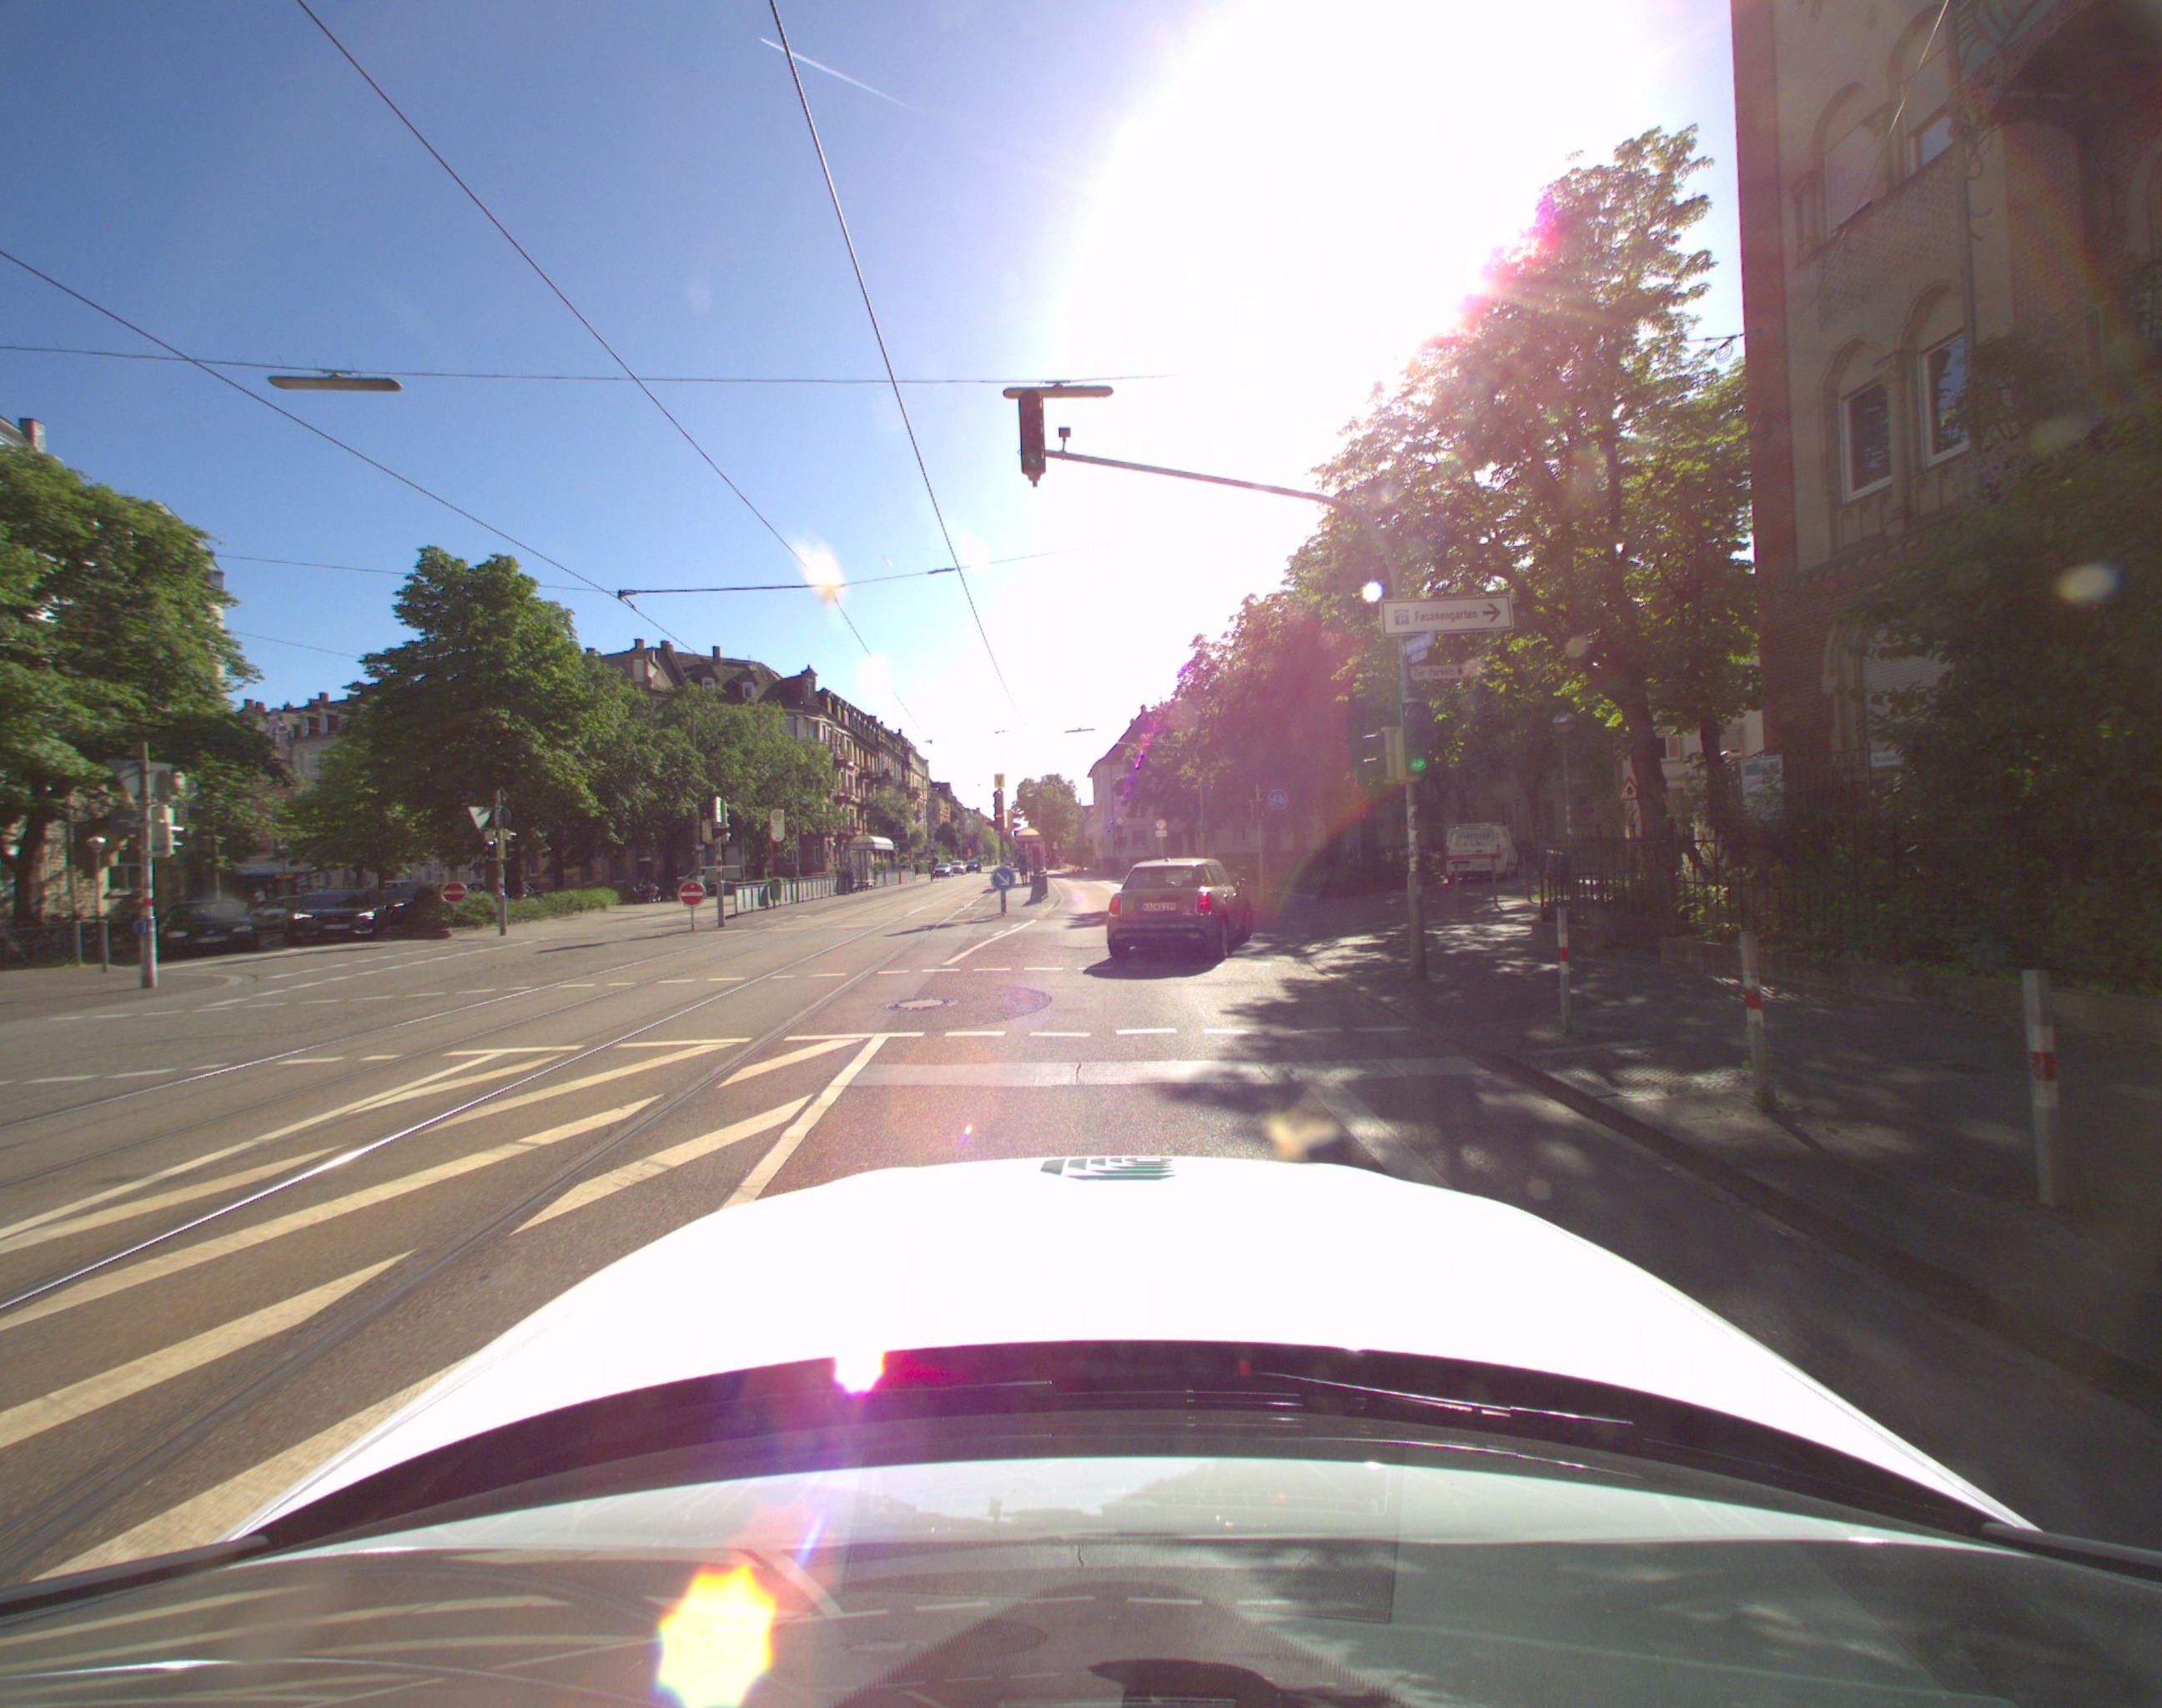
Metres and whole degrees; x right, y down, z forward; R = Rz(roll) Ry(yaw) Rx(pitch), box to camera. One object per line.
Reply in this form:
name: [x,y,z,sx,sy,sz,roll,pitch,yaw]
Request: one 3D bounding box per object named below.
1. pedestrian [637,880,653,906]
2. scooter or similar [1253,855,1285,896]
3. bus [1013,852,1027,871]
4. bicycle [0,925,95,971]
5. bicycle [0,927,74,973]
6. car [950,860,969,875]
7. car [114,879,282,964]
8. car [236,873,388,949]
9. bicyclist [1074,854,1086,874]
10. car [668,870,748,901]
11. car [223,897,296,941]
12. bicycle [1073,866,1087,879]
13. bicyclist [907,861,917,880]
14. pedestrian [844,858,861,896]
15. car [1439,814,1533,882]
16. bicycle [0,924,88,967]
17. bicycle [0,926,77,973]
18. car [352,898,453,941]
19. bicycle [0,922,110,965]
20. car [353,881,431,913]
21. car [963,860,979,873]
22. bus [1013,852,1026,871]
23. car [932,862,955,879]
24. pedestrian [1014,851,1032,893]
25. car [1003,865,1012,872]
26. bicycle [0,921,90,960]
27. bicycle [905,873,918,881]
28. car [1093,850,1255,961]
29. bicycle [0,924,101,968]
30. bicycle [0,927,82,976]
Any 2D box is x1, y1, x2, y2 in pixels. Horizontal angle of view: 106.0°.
pedestrian: [-20.942,1.866,39.115,0.581,1.201,0.602,-3,0,-30]
scooter or similar: [6.185,0.701,26.830,0.674,1.310,1.327,-2,-1,-2]
bus: [-11.412,1.450,152.368,2.382,3.496,7.369,-2,-1,-5]
bicycle: [-25.983,2.333,20.109,0.602,0.980,2.051,-3,-1,36]
bicycle: [-25.563,2.308,19.344,0.602,0.980,2.051,-3,-1,36]
car: [-13.566,1.524,90.951,1.773,1.618,3.993,-2,-1,-4]
car: [-23.359,1.735,21.540,3.949,2.014,2.012,-2,-1,27]
car: [-22.526,1.640,23.856,3.949,2.014,2.012,-2,-1,27]
bicyclist: [-0.097,0.955,74.623,0.818,1.811,1.055,-1,-1,-11]
car: [-26.912,2.216,58.832,5.048,2.014,1.979,-1,-1,-33]
car: [-32.069,2.481,31.768,3.949,1.431,1.765,-2,1,42]
bicycle: [-0.080,1.721,74.605,0.842,1.156,2.529,-2,-1,-11]
bicyclist: [-15.529,1.521,74.793,0.711,1.665,0.734,-2,-1,1]
pedestrian: [-11.190,1.114,39.861,0.605,1.795,0.578,-3,0,-5]
car: [14.731,-0.196,29.442,2.097,2.208,4.976,-3,-1,37]
bicycle: [-27.461,2.396,21.164,0.602,0.980,2.051,-3,-1,36]
bicycle: [-24.936,2.246,18.891,0.602,0.980,2.051,-3,-1,36]
car: [-29.058,2.750,35.034,1.751,1.431,3.979,-3,1,-15]
bicycle: [-28.321,2.452,22.385,0.602,0.980,2.051,-3,-1,36]
car: [-47.879,2.976,56.618,4.538,2.014,2.009,-2,-1,17]
car: [-14.155,1.630,105.068,1.773,1.618,3.993,-2,-1,-4]
bus: [-12.070,1.558,159.741,2.382,3.496,7.369,-2,-1,-5]
car: [-13.618,1.613,80.893,1.773,1.618,3.993,-2,-1,-4]
pedestrian: [-2.859,0.865,39.930,0.793,2.014,0.739,-2,-1,-3]
car: [-17.453,3.448,193.210,1.989,1.596,3.994,-2,-1,-4]
bicycle: [-29.762,2.455,23.102,0.602,0.980,2.051,-3,-1,36]
bicycle: [-15.529,2.114,74.673,0.716,0.750,1.916,-2,-1,1]
car: [1.659,0.734,13.120,1.801,1.488,4.018,-2,-1,17]
bicycle: [-26.575,2.340,20.725,0.602,0.980,2.051,-3,-1,36]
bicycle: [-24.286,2.241,18.445,0.602,0.980,2.051,-3,-1,36]
